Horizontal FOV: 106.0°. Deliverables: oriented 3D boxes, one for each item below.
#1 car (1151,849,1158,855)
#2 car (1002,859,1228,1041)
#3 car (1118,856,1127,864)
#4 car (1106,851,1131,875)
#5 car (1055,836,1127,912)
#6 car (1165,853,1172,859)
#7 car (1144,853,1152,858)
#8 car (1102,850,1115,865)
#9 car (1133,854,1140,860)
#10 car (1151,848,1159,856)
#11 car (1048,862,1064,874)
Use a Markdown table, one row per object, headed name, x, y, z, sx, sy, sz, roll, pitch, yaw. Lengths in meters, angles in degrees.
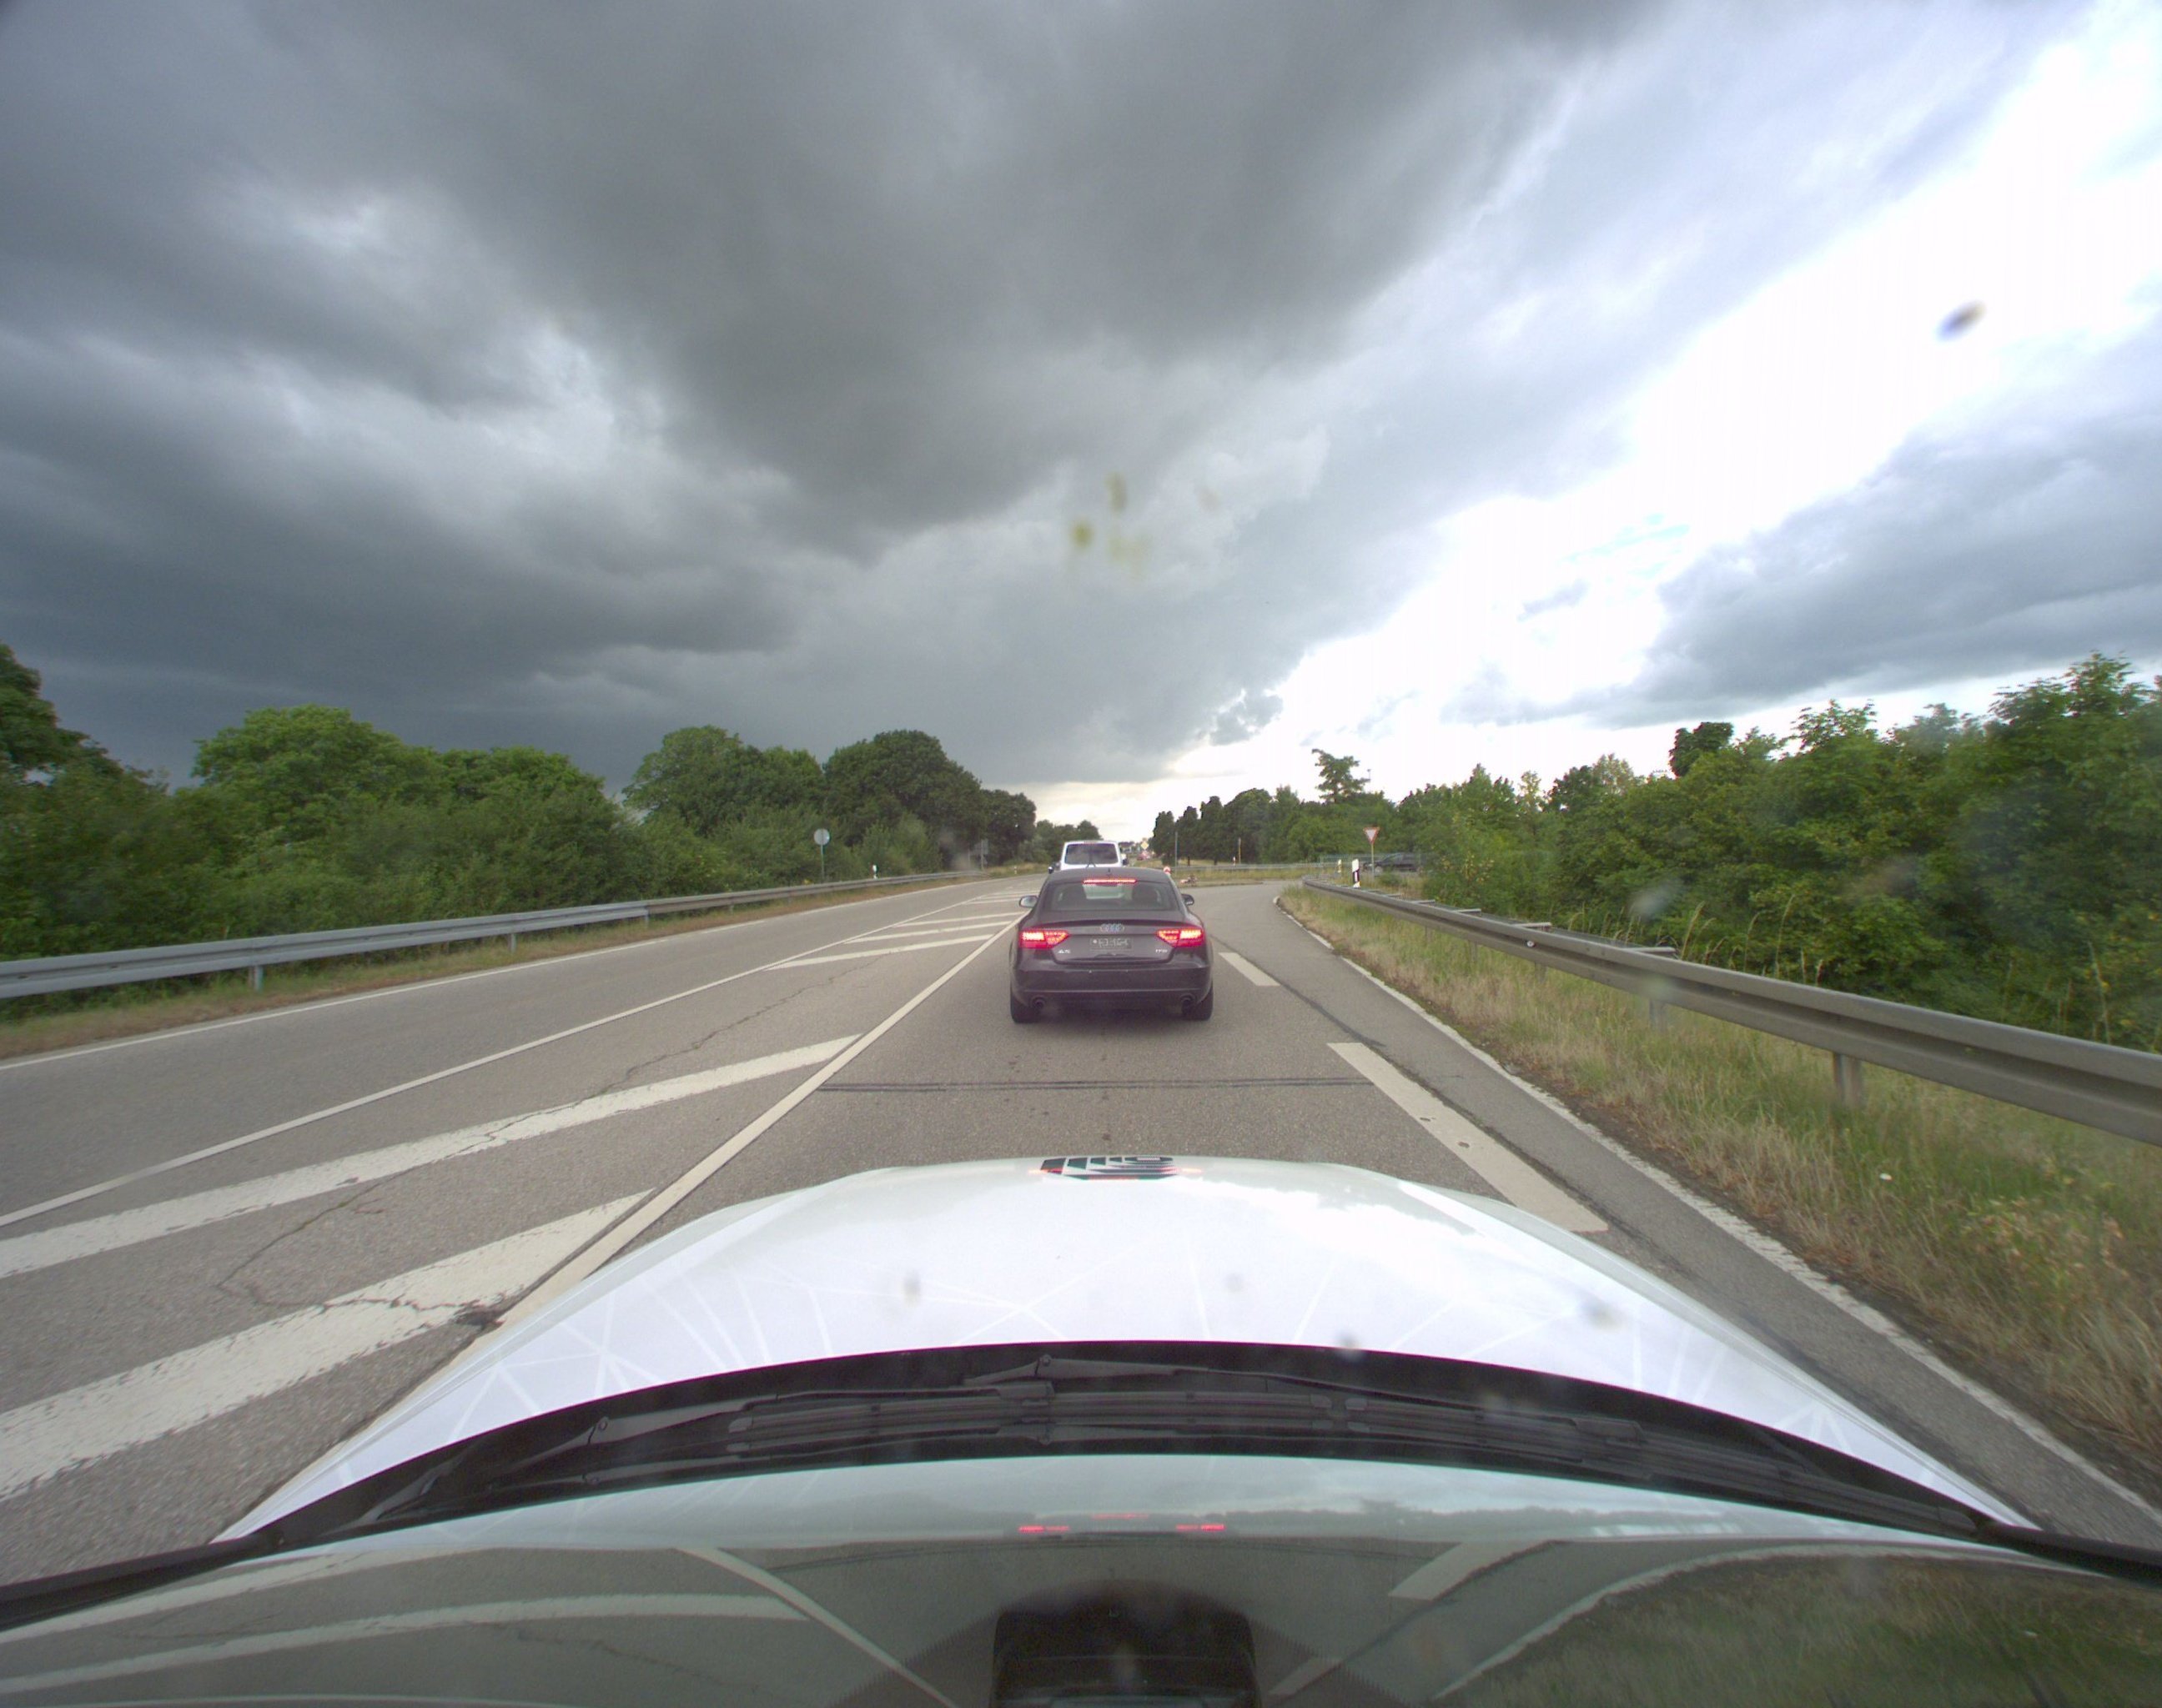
| name | x | y | z | sx | sy | sz | roll | pitch | yaw |
| --- | --- | --- | --- | --- | --- | --- | --- | --- | --- |
| car | 21.316 | -0.703 | 236.421 | 1.985 | 1.692 | 4.004 | -1 | 0 | 4 |
| car | 0.291 | 0.773 | 8.154 | 1.774 | 1.398 | 3.336 | -1 | 0 | 0 |
| car | 9.339 | 1.399 | 182.735 | 1.985 | 1.692 | 4.004 | -1 | 0 | 4 |
| car | 3.370 | 0.812 | 74.037 | 2.073 | 2.064 | 4.877 | -1 | 0 | 1 |
| car | 0.311 | 0.521 | 23.795 | 1.904 | 2.013 | 4.001 | -1 | 0 | 1 |
| car | 24.529 | 0.666 | 229.455 | 1.865 | 1.692 | 4.008 | -1 | 0 | 7 |
| car | 21.467 | 0.518 | 260.859 | 2.198 | 1.582 | 4.379 | -1 | 0 | 1 |
| car | 4.503 | 0.535 | 133.236 | 1.985 | 2.408 | 4.003 | 1 | 0 | 3 |
| car | 16.232 | 0.810 | 239.094 | 1.985 | 1.692 | 4.004 | -1 | 0 | 4 |
| car | 19.698 | -0.609 | 217.482 | 1.985 | 2.013 | 4.004 | -1 | 0 | 3 |
| car | -3.120 | 1.758 | 101.860 | 1.791 | 1.398 | 3.485 | -1 | 0 | 2 |
